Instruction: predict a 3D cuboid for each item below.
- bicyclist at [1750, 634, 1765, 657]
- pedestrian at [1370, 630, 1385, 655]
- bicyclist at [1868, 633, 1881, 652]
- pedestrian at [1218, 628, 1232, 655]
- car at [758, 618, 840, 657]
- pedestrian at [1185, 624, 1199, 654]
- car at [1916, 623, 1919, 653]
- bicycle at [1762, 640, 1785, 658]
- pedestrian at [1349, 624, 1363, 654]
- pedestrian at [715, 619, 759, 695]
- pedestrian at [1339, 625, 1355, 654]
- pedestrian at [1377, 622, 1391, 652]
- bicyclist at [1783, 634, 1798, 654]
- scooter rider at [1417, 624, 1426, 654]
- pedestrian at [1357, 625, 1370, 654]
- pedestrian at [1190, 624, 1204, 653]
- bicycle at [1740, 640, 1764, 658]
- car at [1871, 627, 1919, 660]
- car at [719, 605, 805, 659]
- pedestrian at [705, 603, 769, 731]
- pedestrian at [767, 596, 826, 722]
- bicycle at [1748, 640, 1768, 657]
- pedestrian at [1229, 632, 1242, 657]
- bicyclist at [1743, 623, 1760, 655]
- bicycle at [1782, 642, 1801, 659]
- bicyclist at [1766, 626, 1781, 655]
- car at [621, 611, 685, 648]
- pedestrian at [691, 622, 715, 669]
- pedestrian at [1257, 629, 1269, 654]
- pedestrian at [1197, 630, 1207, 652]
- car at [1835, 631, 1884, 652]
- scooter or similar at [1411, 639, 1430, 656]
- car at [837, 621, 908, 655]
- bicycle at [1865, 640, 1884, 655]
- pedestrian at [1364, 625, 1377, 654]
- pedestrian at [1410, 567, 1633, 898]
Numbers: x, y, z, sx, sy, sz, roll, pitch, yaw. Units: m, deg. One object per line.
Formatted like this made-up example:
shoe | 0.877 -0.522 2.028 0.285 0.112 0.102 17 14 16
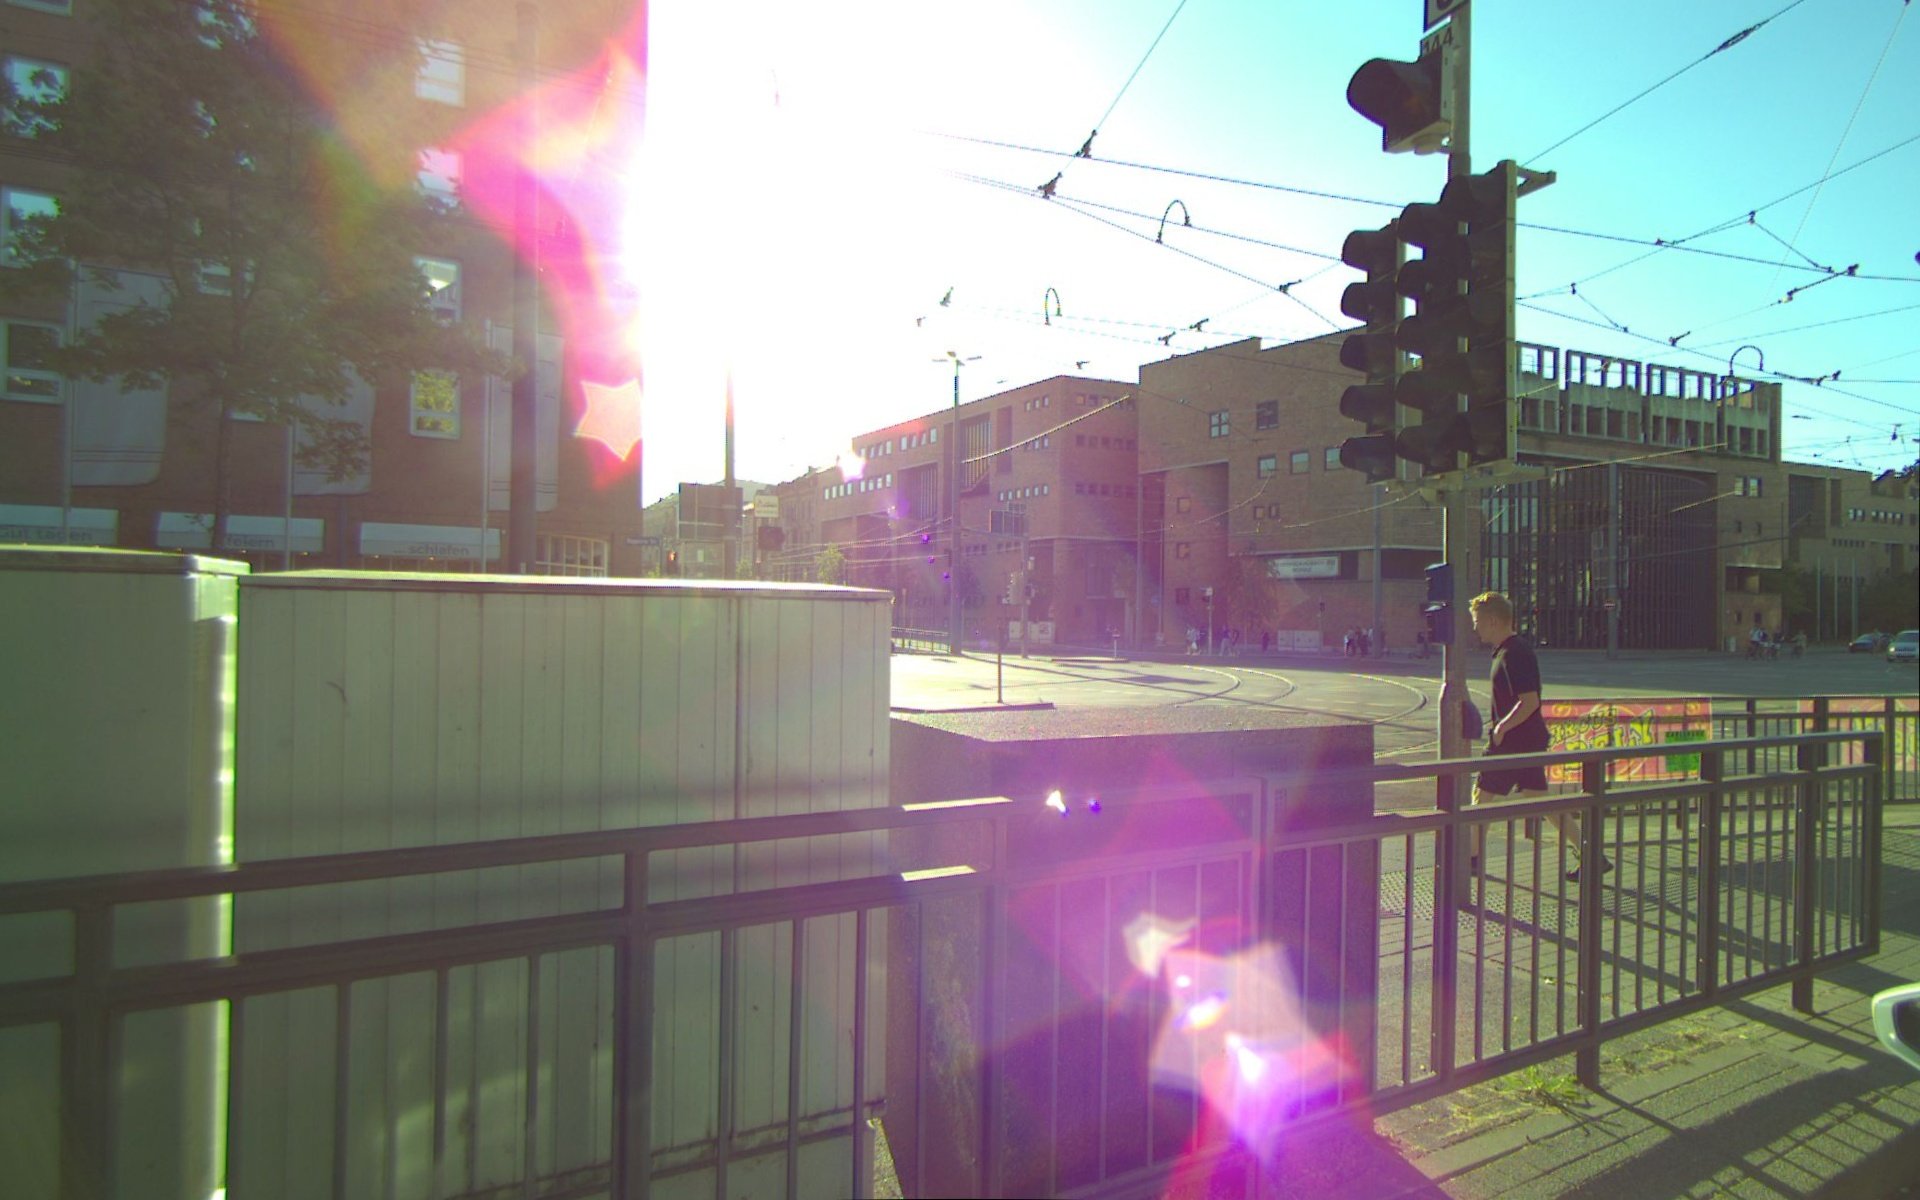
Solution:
bicyclist | 46.544 2.634 58.636 0.574 1.321 0.503 1 -1 -30
pedestrian | 24.381 2.458 58.647 0.636 1.440 0.593 1 -1 -37
bicyclist | 61.132 2.841 67.156 0.574 1.226 0.503 1 -1 -30
pedestrian | 14.972 2.338 56.752 0.605 1.473 0.568 1 -1 -17
car | -8.342 1.902 51.702 1.982 1.928 5.156 1 -2 -38
pedestrian | 12.774 2.146 55.293 0.539 1.670 0.600 1 -1 -9
car | 55.253 2.107 55.893 3.954 1.661 1.983 1 -2 -31
bicycle | 45.050 2.699 55.600 1.557 0.976 0.470 1 -1 -30
pedestrian | 22.883 2.271 58.067 0.587 1.706 0.545 1 -1 -39
pedestrian | -5.070 1.280 22.820 0.709 1.669 0.953 1 -1 -30
pedestrian | 22.974 2.314 59.619 0.645 1.706 0.615 1 -1 -38
pedestrian | 24.948 2.171 59.083 0.543 1.706 0.568 1 -1 -38
bicyclist | 49.227 2.600 59.557 0.574 1.194 0.503 1 -1 -30
scooter rider | 25.432 2.157 55.390 0.429 1.669 0.229 0 -1 15
pedestrian | 23.879 2.349 59.450 0.568 1.706 0.543 1 -1 -38
pedestrian | 13.256 2.152 56.132 0.579 1.635 0.597 1 -1 -10
bicycle | 44.450 2.725 56.365 1.568 0.976 0.539 1 -1 -30
car | 48.983 2.220 51.780 3.954 1.661 1.983 1 -2 -31
car | -9.532 1.514 48.053 1.982 2.419 5.156 1 -2 -38
pedestrian | -3.338 0.973 14.992 0.713 1.837 0.904 1 -1 -28
pedestrian | -2.503 0.884 15.341 0.647 1.864 0.835 1 -1 -28
bicycle | 46.567 2.833 58.609 1.304 0.976 0.465 1 -1 -30
pedestrian | 15.074 2.412 55.034 0.667 1.357 0.605 0 -1 12
bicyclist | 44.390 2.178 56.334 0.574 1.754 0.534 1 -1 -30
bicycle | 49.308 2.987 59.582 1.332 0.976 0.449 1 -1 -30
bicyclist | 44.997 2.231 55.562 0.574 1.624 0.456 1 -1 -30
car | -18.621 1.786 60.771 1.982 2.122 5.156 1 -2 -38
pedestrian | -9.276 1.625 36.244 0.658 1.669 0.638 1 -1 -34
pedestrian | 19.190 2.631 63.685 0.485 1.526 0.546 1 -1 -26
pedestrian | 15.948 2.707 66.142 0.549 1.445 0.556 0 -1 0
car | 66.884 3.065 74.647 3.954 1.455 1.658 1 -2 -31
scooter or similar | 25.379 2.634 55.374 0.931 0.911 0.176 0 -1 14
car | -4.577 1.973 52.120 1.980 1.572 3.961 2 0 -35
bicycle | 61.240 3.170 67.254 1.469 0.976 0.489 1 -1 -30
pedestrian | 24.674 2.379 60.344 0.498 1.706 0.588 1 -1 -38
pedestrian | 3.252 0.718 5.933 1.072 1.772 0.742 0 -1 23
